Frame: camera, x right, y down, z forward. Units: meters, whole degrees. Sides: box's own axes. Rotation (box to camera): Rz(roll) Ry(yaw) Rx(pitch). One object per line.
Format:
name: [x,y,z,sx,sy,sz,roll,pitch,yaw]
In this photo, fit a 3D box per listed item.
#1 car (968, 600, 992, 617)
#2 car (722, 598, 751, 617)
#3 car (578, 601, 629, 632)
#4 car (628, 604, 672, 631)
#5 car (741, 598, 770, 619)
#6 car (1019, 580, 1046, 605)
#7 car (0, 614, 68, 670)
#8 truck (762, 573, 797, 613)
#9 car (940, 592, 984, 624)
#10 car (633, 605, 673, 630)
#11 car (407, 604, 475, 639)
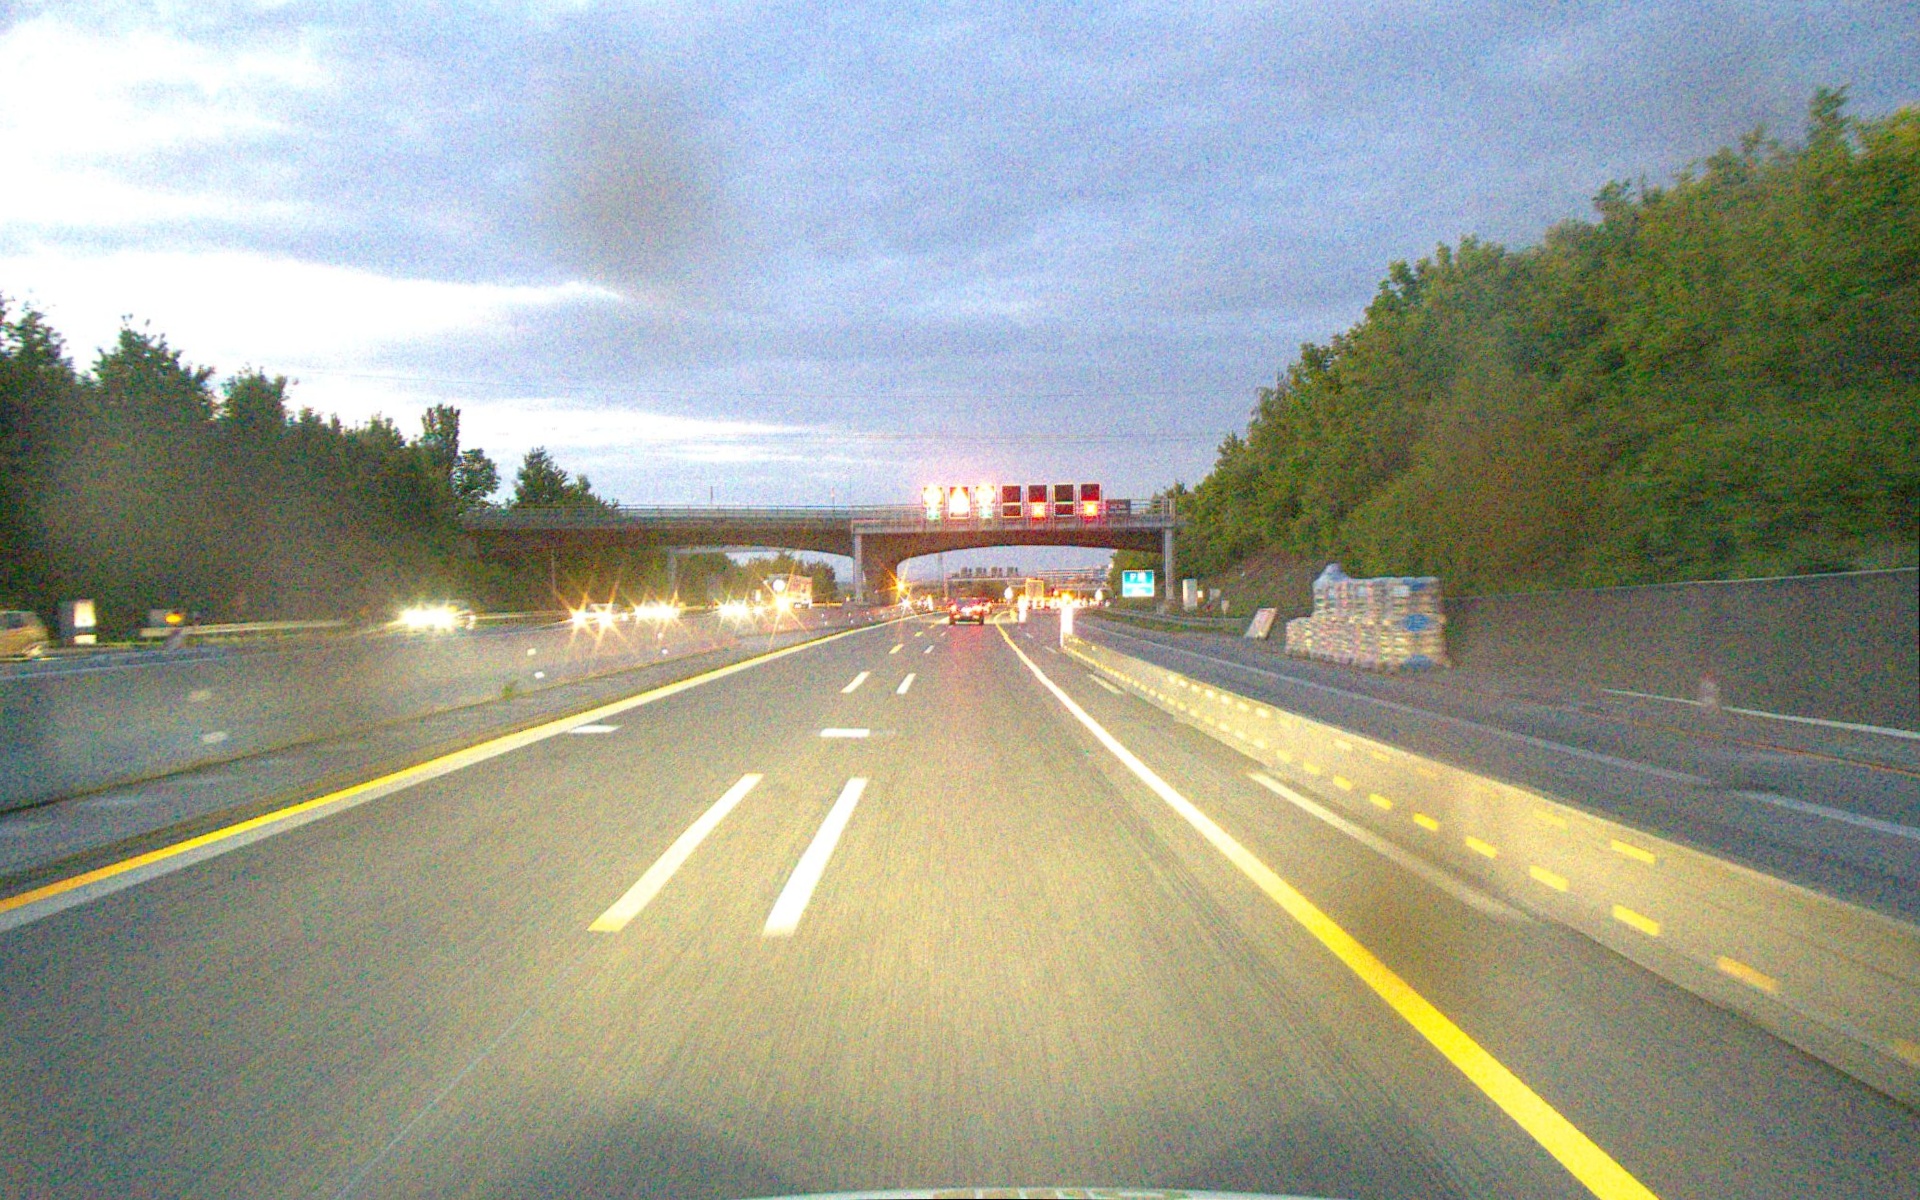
car: [1.843,0.792,149.431,1.930,1.462,4.002,1,0,4]
car: [-19.475,0.667,144.187,1.558,1.632,5.035,1,0,3]
car: [-19.756,0.898,91.901,1.644,1.666,4.752,1,0,1]
car: [-19.867,1.119,106.099,1.767,1.666,4.752,1,0,1]
car: [-16.986,0.717,137.437,1.701,1.666,4.892,1,0,1]
car: [10.395,-1.027,237.882,3.531,3.455,8.014,1,0,0]
car: [-27.750,1.192,47.326,1.788,1.511,4.702,1,0,1]
truck: [-19.844,-0.735,182.190,2.719,4.244,6.388,1,0,3]
car: [0.087,0.418,88.391,2.219,1.650,3.999,1,0,-1]
car: [-21.472,1.180,115.791,1.701,1.666,5.171,1,0,1]
car: [-26.064,1.072,83.157,1.767,1.666,4.752,1,0,1]
